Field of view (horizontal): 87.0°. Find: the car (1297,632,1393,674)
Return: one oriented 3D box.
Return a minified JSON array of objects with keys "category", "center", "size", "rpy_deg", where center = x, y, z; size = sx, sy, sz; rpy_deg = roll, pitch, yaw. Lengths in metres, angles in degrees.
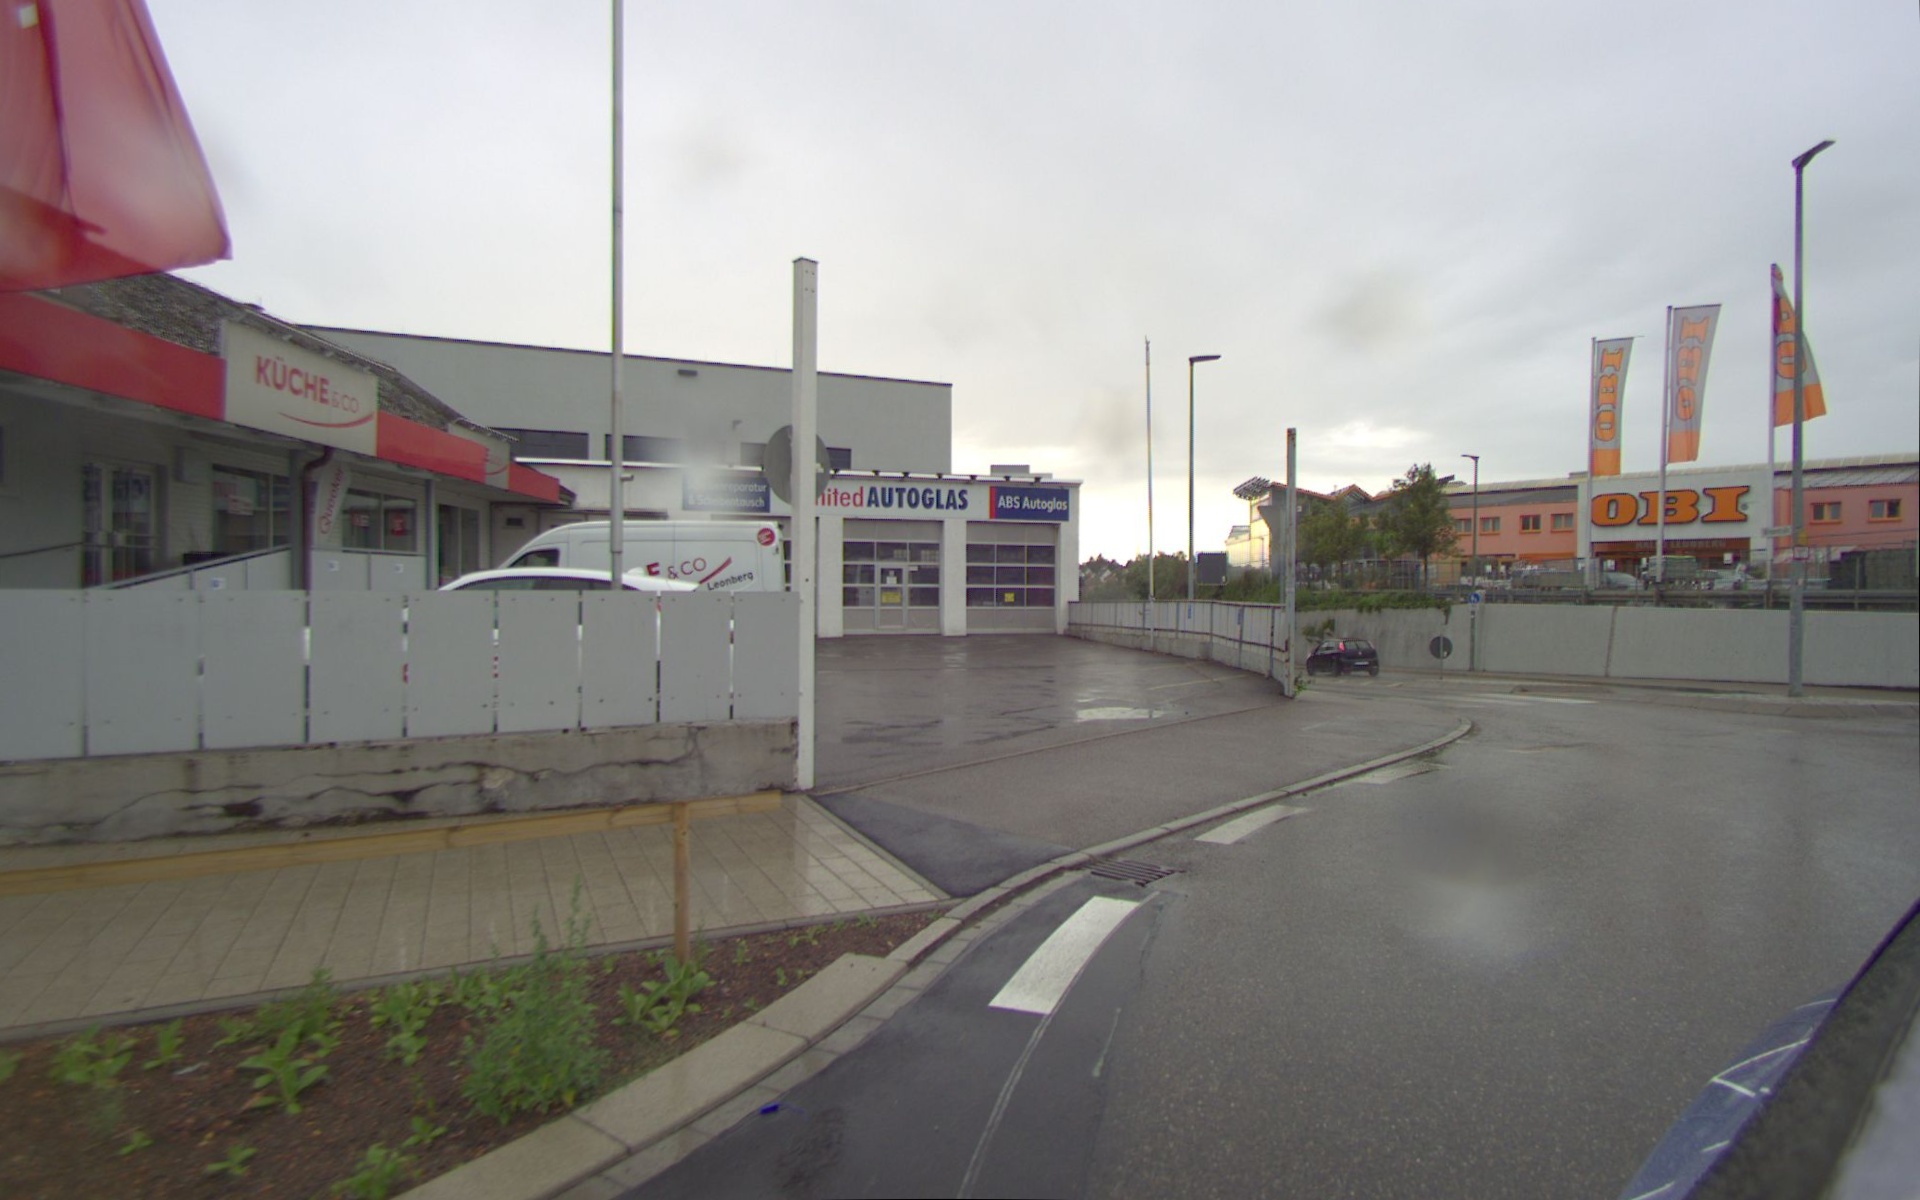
[{"category":"car","center":[14.971,2.028,39.674],"size":[1.964,1.400,5.337],"rpy_deg":[-1,0,3]}]

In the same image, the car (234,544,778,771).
[{"category":"car","center":[-3.868,0.452,9.223],"size":[4.082,1.712,1.851],"rpy_deg":[1,0,-20]}]

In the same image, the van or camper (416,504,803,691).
[{"category":"van or camper","center":[-5.049,-0.018,15.314],"size":[5.157,2.572,2.132],"rpy_deg":[1,0,-6]}]
